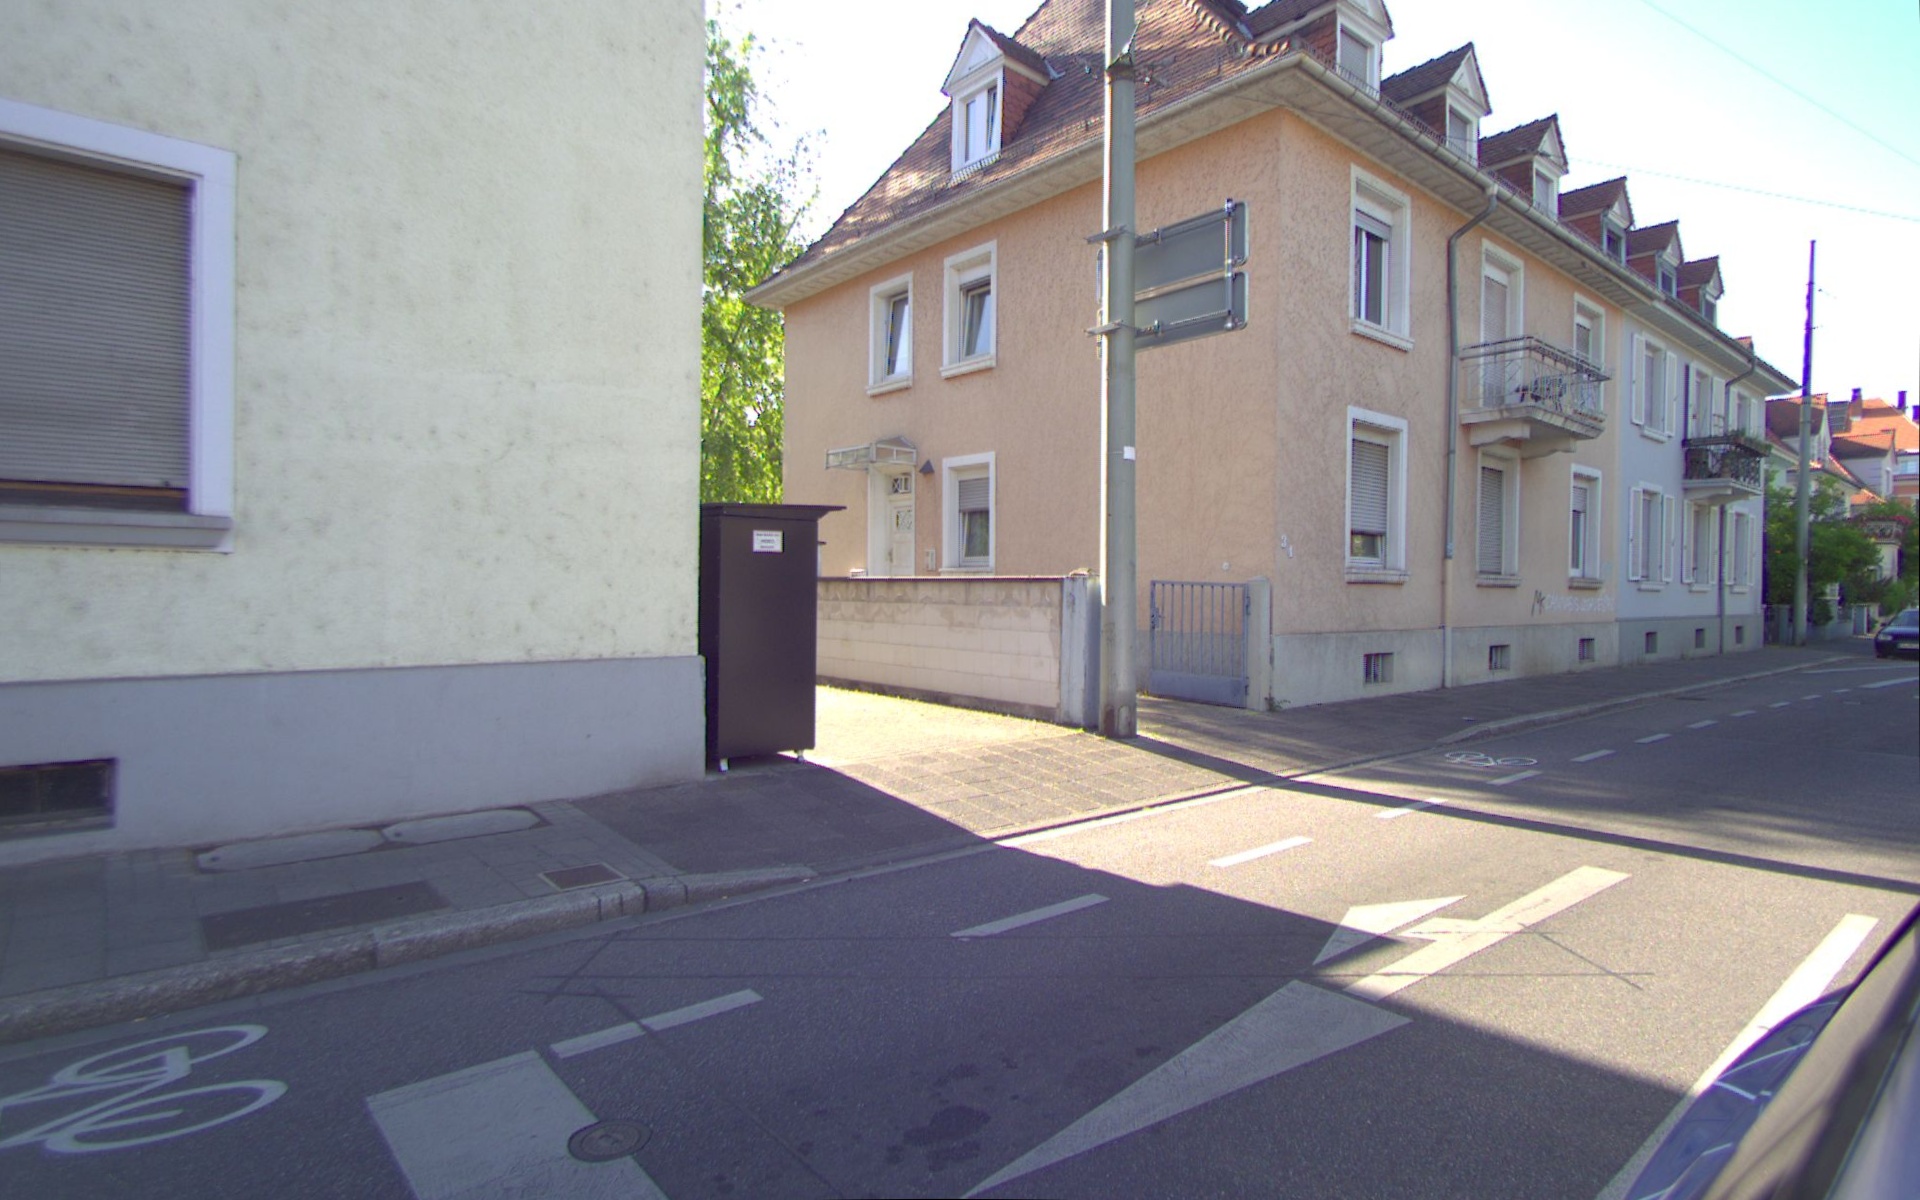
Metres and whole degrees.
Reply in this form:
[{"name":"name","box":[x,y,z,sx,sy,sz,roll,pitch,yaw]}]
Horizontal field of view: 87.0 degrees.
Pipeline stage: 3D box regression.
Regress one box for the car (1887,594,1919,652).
[{"name":"car","box":[26.842,0.598,27.380,3.925,1.504,1.883,0,1,-37]}]
